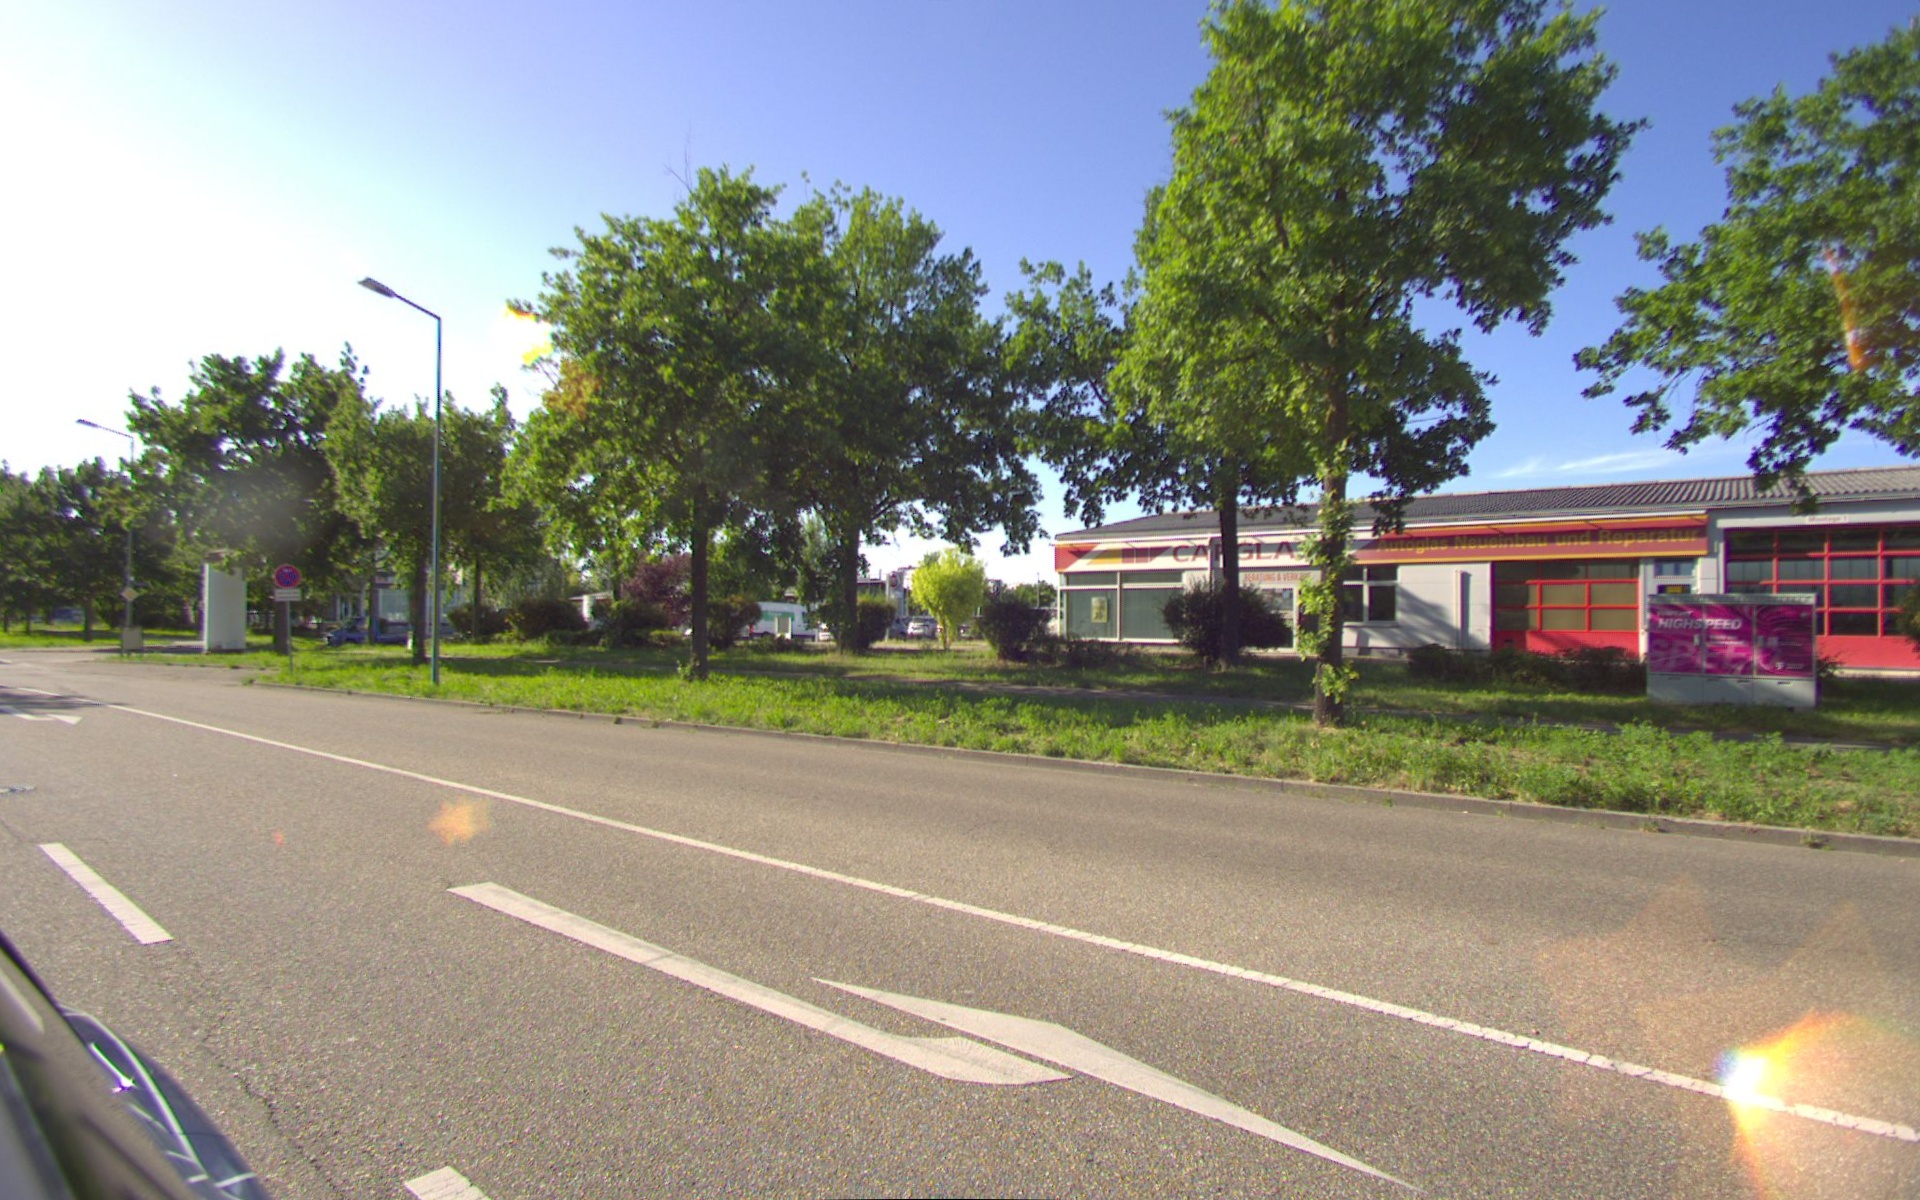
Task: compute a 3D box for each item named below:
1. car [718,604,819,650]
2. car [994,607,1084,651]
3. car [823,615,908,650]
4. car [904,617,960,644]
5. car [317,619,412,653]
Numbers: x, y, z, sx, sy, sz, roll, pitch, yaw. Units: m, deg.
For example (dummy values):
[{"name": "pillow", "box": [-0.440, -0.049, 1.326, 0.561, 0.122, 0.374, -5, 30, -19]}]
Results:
[{"name": "car", "box": [-11.461, 1.581, 60.997, 2.406, 2.574, 5.952, -1, 0, 36]}, {"name": "car", "box": [3.206, 1.141, 40.603, 1.734, 1.583, 3.769, -3, -1, 40]}, {"name": "car", "box": [-5.154, 1.750, 55.787, 1.989, 1.795, 4.583, -1, 0, 40]}, {"name": "car", "box": [-1.881, 2.030, 68.621, 1.761, 1.684, 3.811, -1, 0, 40]}, {"name": "car", "box": [-35.980, 2.142, 61.228, 1.999, 1.847, 4.578, -1, 0, 41]}]
